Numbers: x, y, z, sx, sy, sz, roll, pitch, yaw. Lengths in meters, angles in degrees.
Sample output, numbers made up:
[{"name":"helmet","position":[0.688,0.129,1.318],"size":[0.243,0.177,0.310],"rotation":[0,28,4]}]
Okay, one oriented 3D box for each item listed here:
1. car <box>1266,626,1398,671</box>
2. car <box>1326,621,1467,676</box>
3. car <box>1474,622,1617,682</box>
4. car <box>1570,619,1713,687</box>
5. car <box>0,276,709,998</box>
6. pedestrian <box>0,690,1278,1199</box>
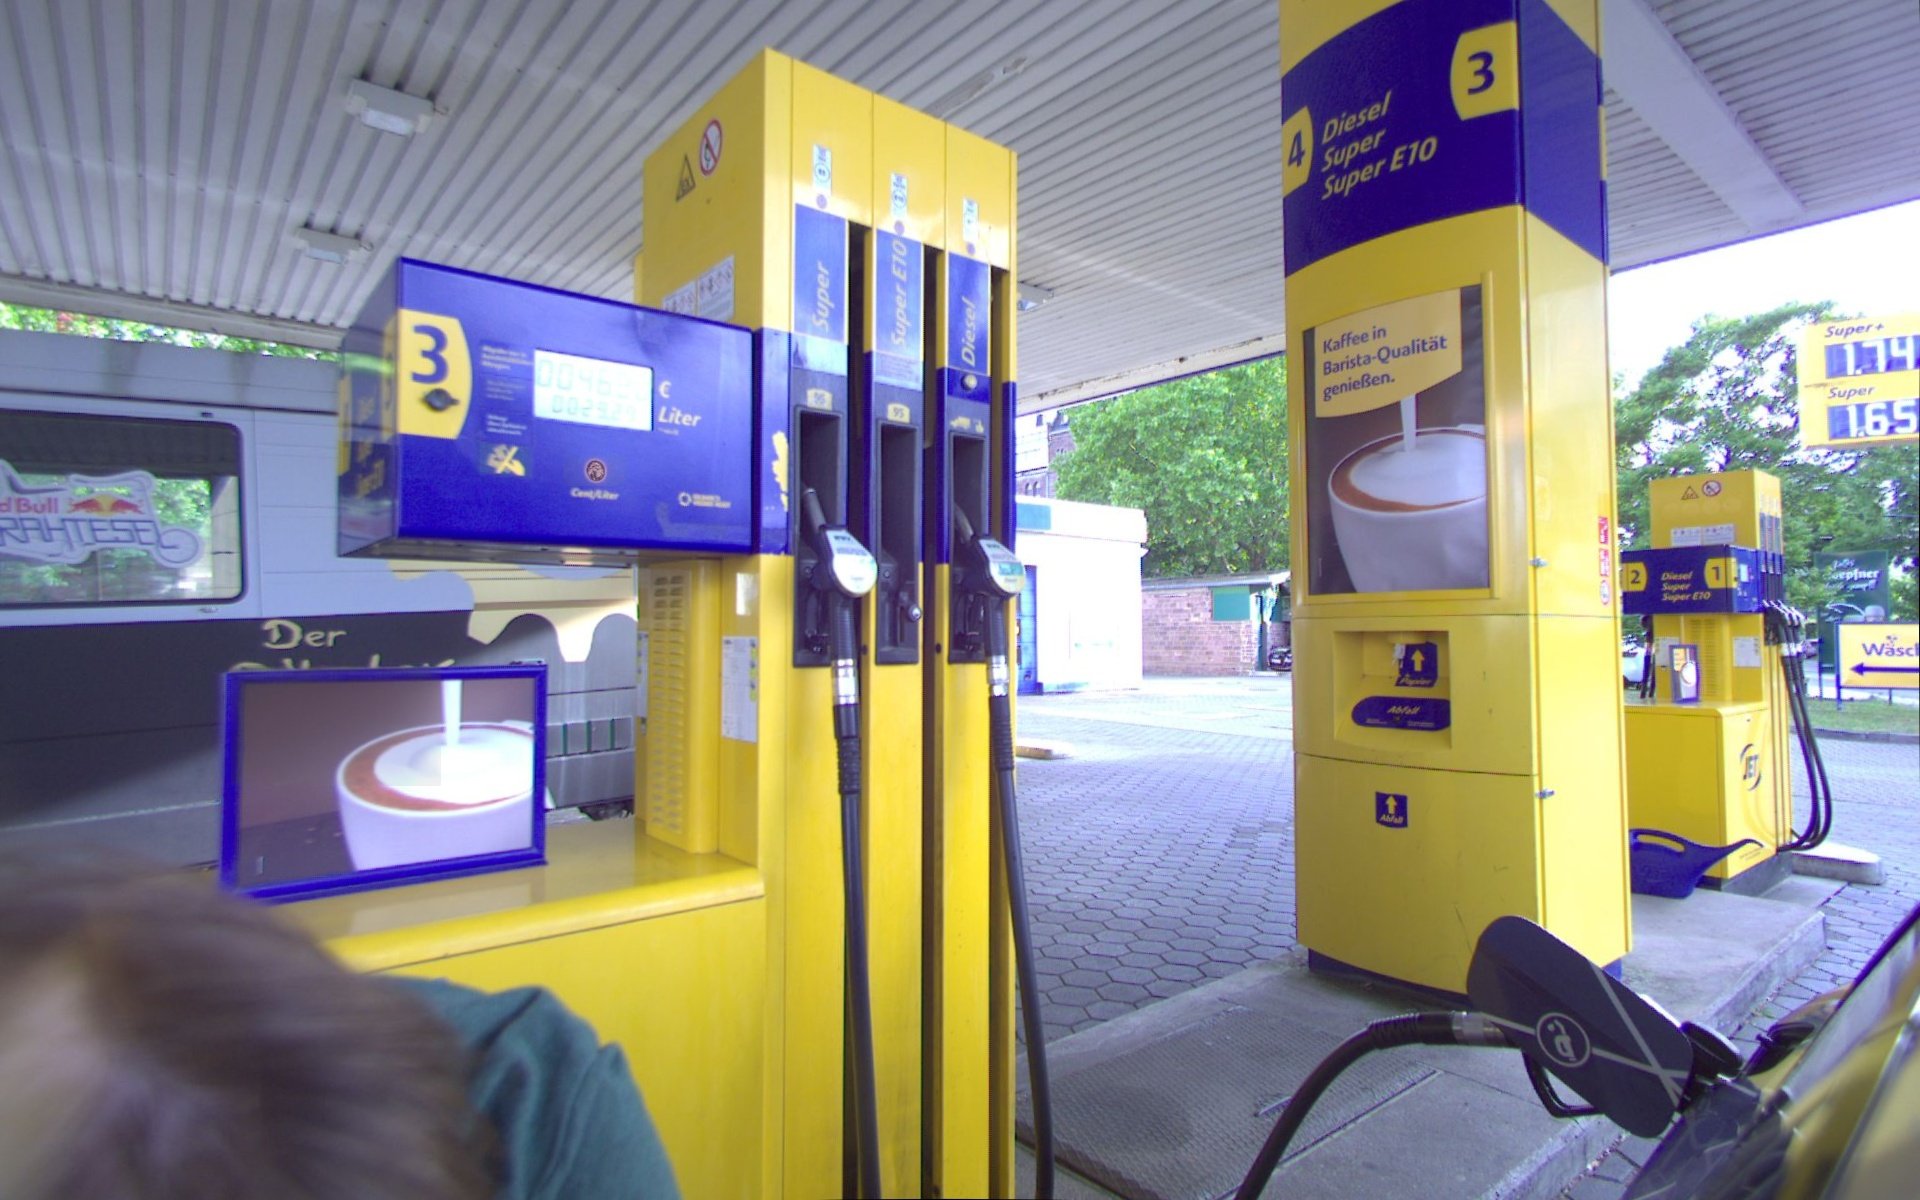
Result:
[{"name":"car","position":[12.684,1.650,34.425],"size":[4.303,1.393,1.777],"rotation":[2,-1,-28]},{"name":"car","position":[13.880,1.528,32.133],"size":[4.303,1.622,1.777],"rotation":[2,-1,-28]},{"name":"car","position":[17.840,1.588,30.798],"size":[4.303,1.622,1.776],"rotation":[4,-4,-28]},{"name":"car","position":[18.350,1.445,27.200],"size":[4.308,1.622,1.774],"rotation":[4,-4,-35]},{"name":"car","position":[-4.114,0.157,4.889],"size":[5.197,2.726,2.258],"rotation":[1,-2,-39]},{"name":"pedestrian","position":[-0.339,0.747,0.542],"size":[0.662,1.298,0.751],"rotation":[0,0,-41]}]
